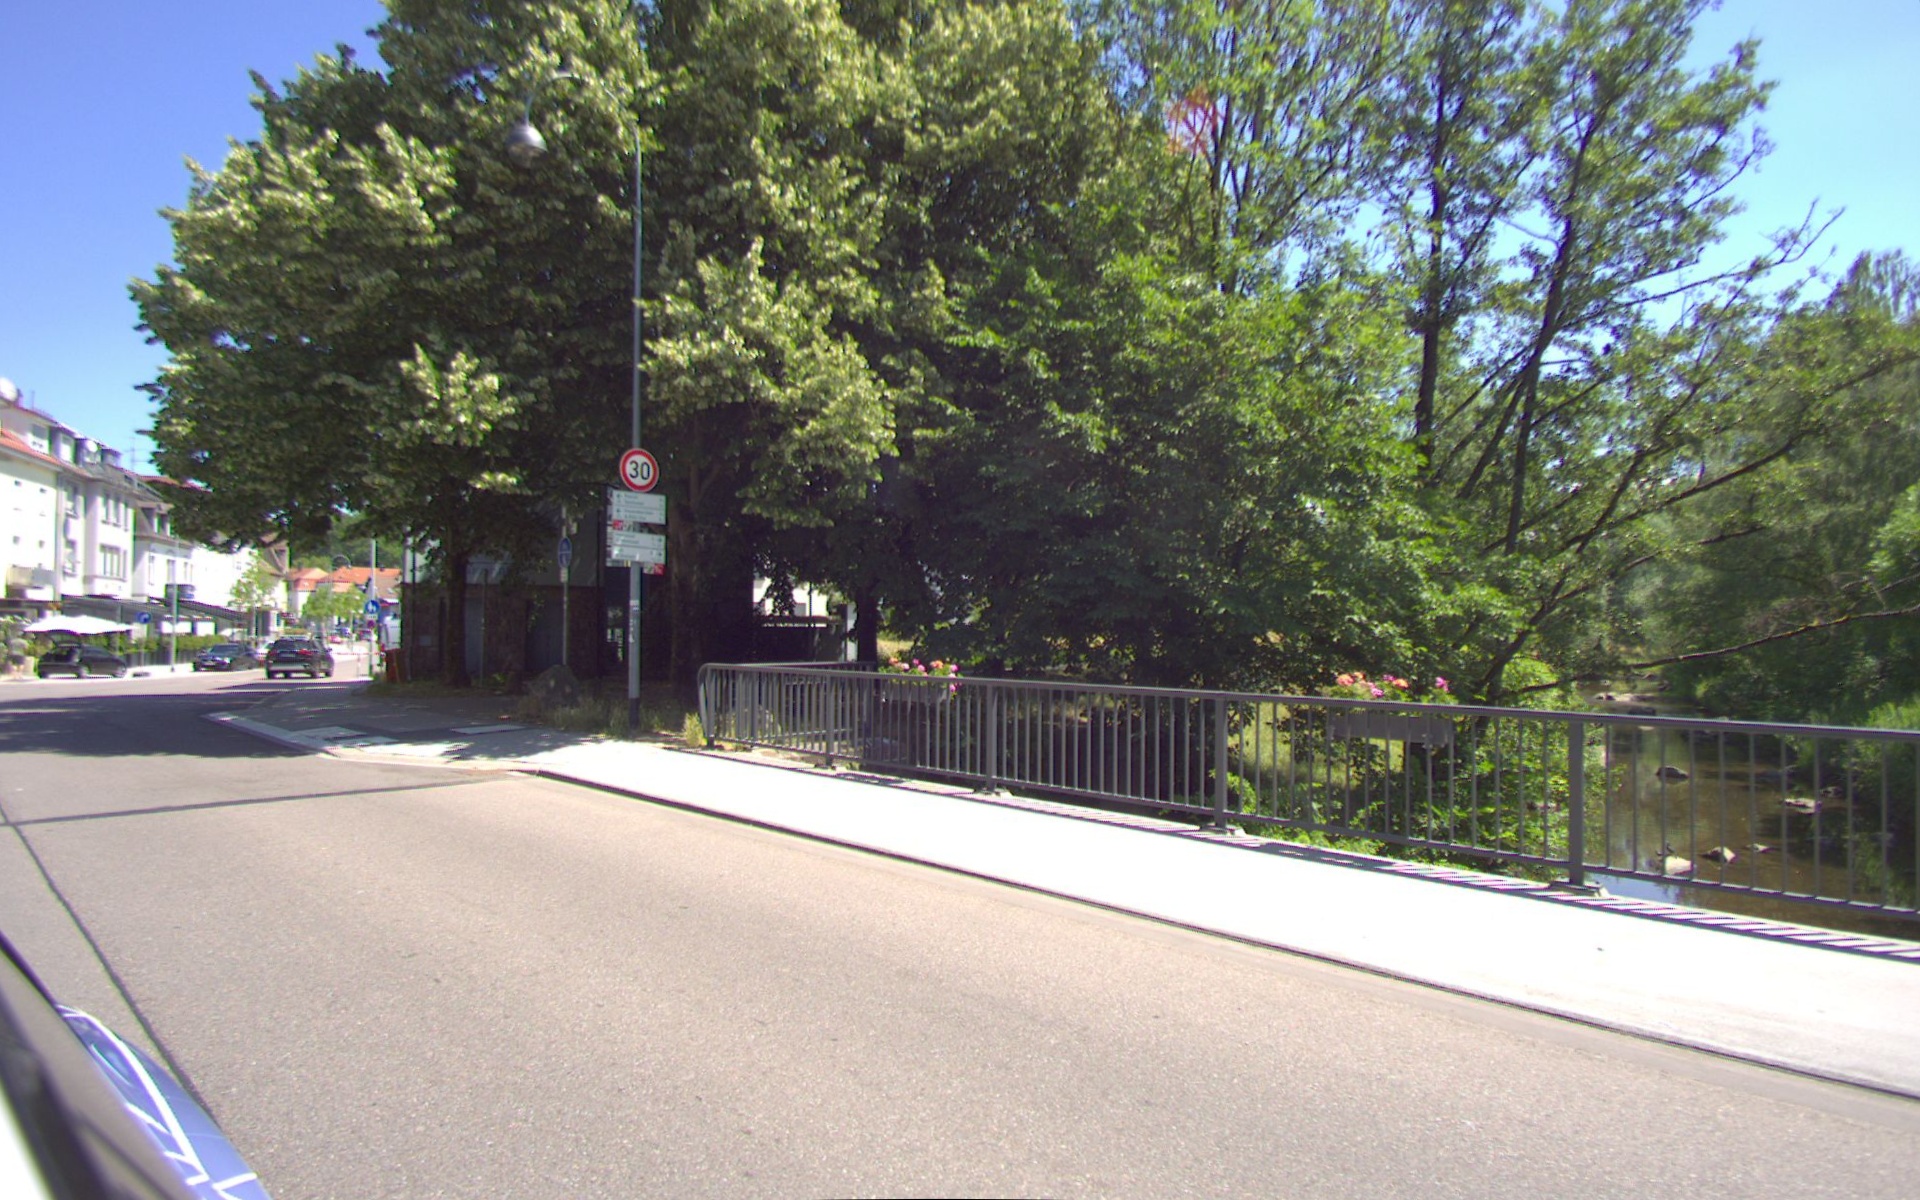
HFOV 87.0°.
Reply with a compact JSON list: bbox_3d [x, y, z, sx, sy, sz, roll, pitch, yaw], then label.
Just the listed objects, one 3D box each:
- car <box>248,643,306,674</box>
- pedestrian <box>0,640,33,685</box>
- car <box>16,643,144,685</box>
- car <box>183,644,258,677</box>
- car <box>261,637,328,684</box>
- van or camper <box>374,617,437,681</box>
[{"bbox_3d":[-41.770,3.562,61.958,1.965,1.697,4.012,0,-1,-19],"label":"car"},{"bbox_3d":[-38.252,2.534,40.983,0.802,1.768,0.637,3,-2,-26],"label":"pedestrian"},{"bbox_3d":[-37.640,2.754,43.452,1.972,1.729,4.000,0,-4,-1],"label":"car"},{"bbox_3d":[-39.577,3.256,54.283,1.966,1.729,4.011,1,-4,-16],"label":"car"},{"bbox_3d":[-27.740,2.538,42.274,1.965,1.855,4.012,1,-4,-29],"label":"car"},{"bbox_3d":[-26.544,2.250,48.595,1.965,2.826,5.054,-2,0,-22],"label":"van or camper"}]
